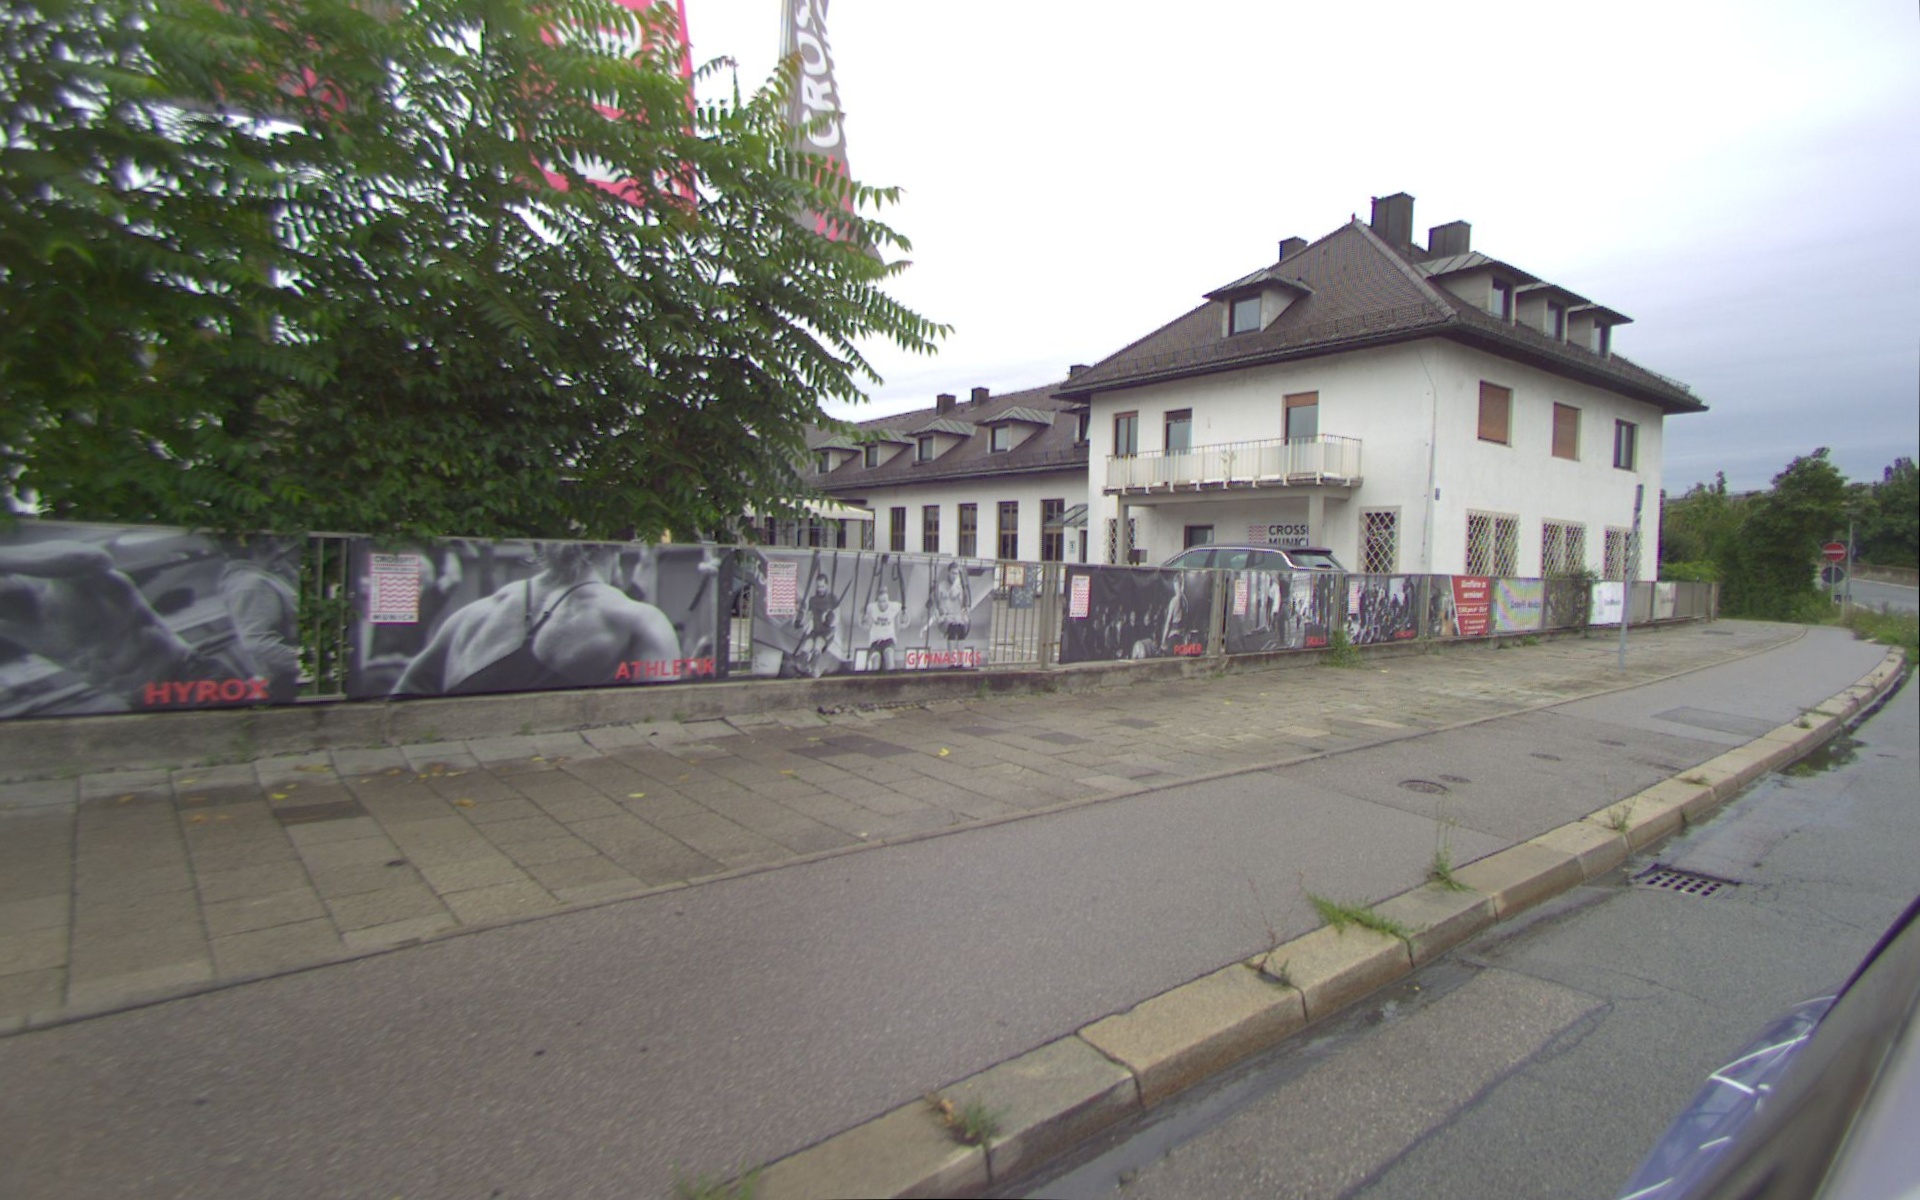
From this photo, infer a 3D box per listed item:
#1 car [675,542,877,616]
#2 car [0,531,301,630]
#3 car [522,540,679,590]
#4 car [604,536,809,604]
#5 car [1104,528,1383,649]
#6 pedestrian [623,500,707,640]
[{"bbox_3d":[-4.080,-0.473,22.559,4.028,1.512,1.929,0,2,-31],"label":"car"},{"bbox_3d":[-13.171,-0.321,15.959,4.534,1.404,1.926,-1,2,-38],"label":"car"},{"bbox_3d":[-11.349,-1.094,32.095,4.324,1.487,1.926,-1,2,-38],"label":"car"},{"bbox_3d":[-6.139,-0.717,24.686,4.452,1.530,1.927,0,2,-35],"label":"car"},{"bbox_3d":[4.567,-0.241,16.799,1.892,1.747,4.106,0,2,-39],"label":"car"},{"bbox_3d":[-4.221,-0.428,14.470,0.916,1.925,0.734,0,2,-42],"label":"pedestrian"}]
